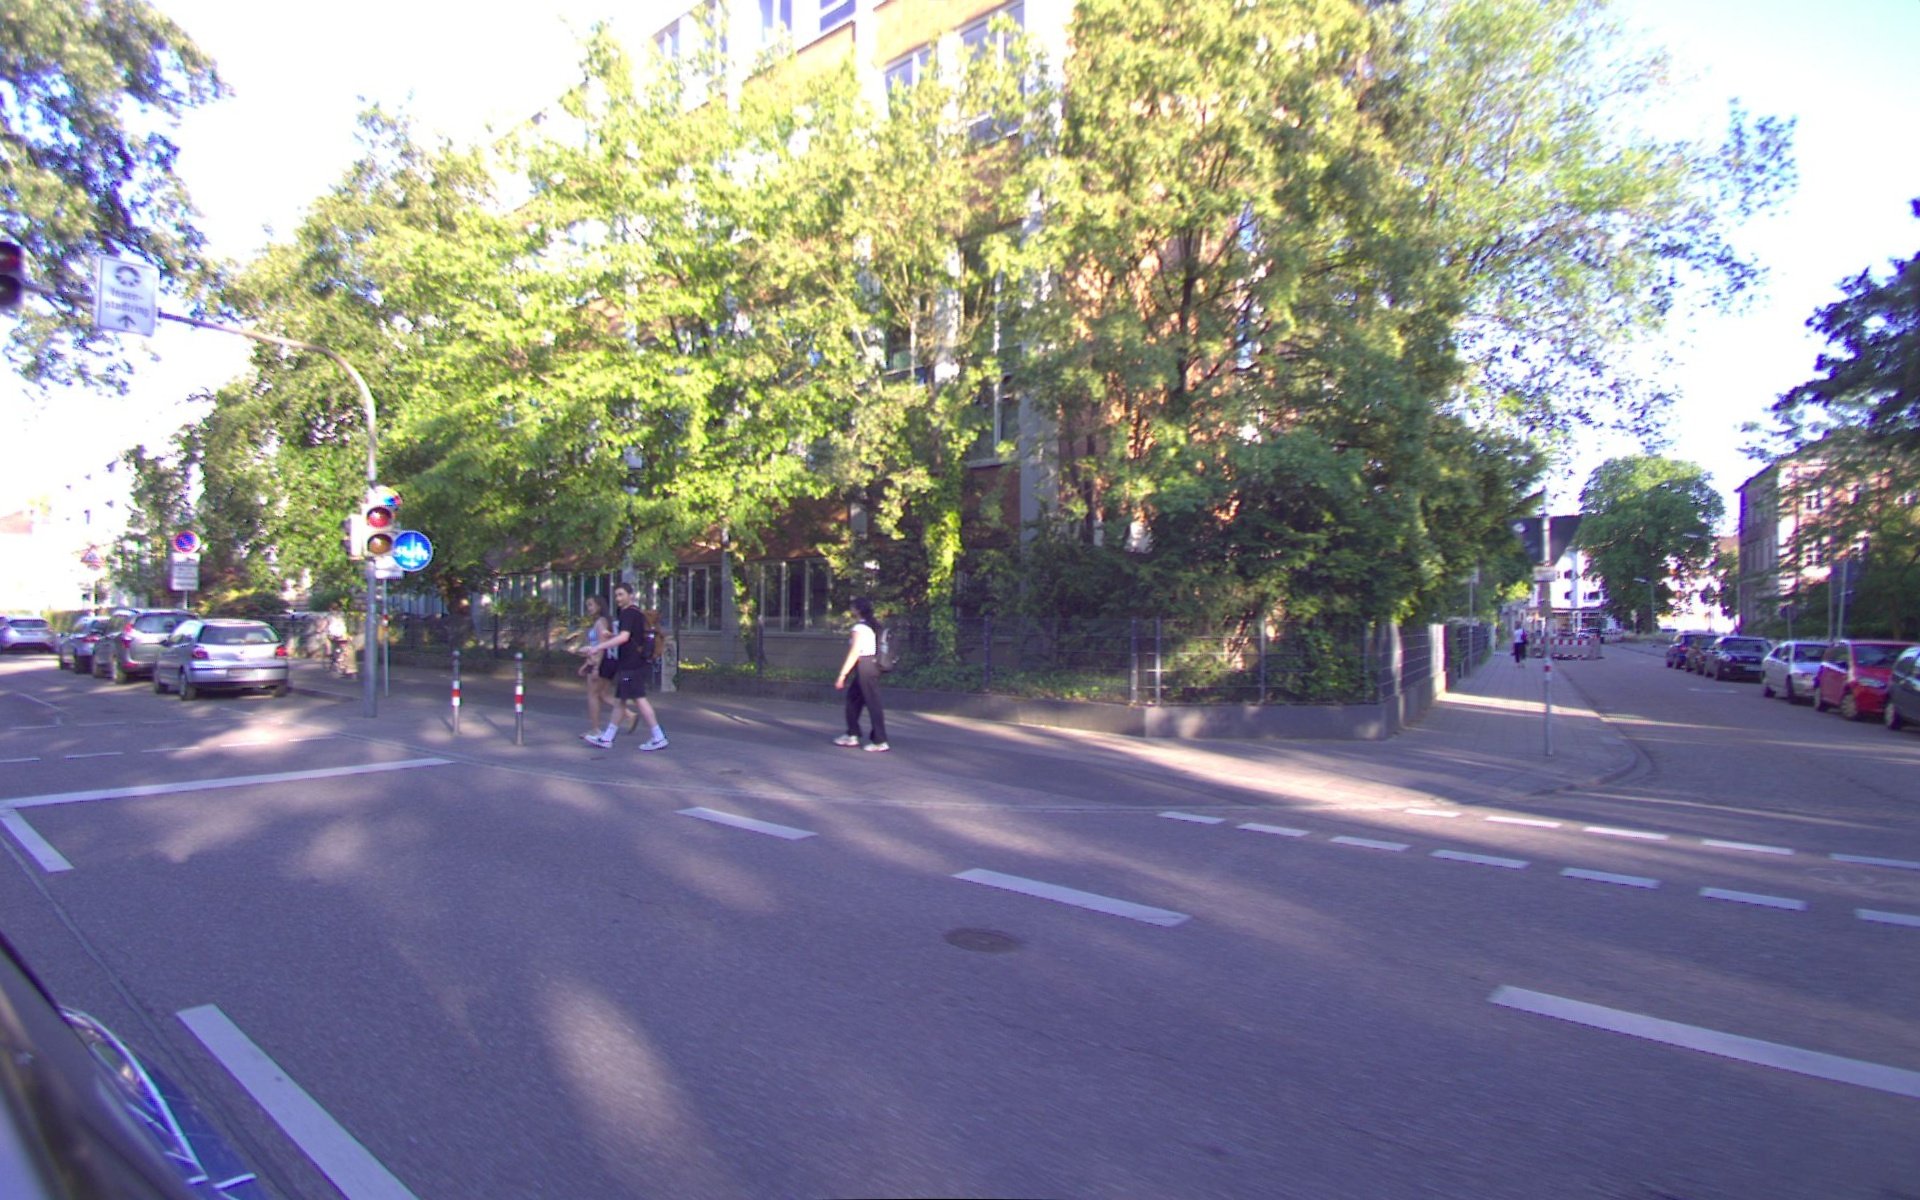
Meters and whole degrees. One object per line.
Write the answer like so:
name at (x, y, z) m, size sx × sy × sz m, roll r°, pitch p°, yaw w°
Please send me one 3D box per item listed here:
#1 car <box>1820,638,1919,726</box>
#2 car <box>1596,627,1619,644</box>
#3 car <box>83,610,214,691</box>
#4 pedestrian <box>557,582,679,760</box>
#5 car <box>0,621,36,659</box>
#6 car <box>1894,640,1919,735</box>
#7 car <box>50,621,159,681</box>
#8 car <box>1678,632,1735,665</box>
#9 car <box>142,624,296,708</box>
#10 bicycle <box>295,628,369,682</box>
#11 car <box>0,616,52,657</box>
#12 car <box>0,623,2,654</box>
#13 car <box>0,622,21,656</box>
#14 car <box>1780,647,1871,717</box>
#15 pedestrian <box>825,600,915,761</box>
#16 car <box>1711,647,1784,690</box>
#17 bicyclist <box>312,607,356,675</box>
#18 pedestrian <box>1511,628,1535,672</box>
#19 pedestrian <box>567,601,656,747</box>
car at (17.221, 1.473, 18.809) m, size 1.370 × 1.468 × 3.240 m, roll 1°, pitch -1°, yaw 32°
car at (67.907, 3.761, 106.165) m, size 1.993 × 1.741 × 3.957 m, roll -1°, pitch -2°, yaw 31°
car at (-19.150, 1.162, 23.818) m, size 4.338 × 1.721 × 1.661 m, roll -2°, pitch -3°, yaw 42°
pedestrian at (-3.705, 0.748, 11.020) m, size 0.949 × 1.838 × 0.818 m, roll 0°, pitch -2°, yaw 18°
car at (-40.168, 1.676, 42.552) m, size 3.787 × 1.519 × 1.581 m, roll -2°, pitch -3°, yaw 43°
car at (15.473, 1.370, 15.060) m, size 1.679 × 1.468 × 3.240 m, roll 1°, pitch -1°, yaw 31°
car at (-23.123, 1.350, 27.296) m, size 4.060 × 1.505 × 1.653 m, roll -2°, pitch -3°, yaw 42°
car at (28.533, 1.839, 38.753) m, size 1.495 × 1.231 × 2.871 m, roll -1°, pitch -2°, yaw 32°
car at (-14.426, 1.219, 19.639) m, size 3.881 × 1.468 × 1.661 m, roll -2°, pitch -3°, yaw 43°
bicycle at (-15.312, 1.315, 24.657) m, size 2.186 × 1.258 × 0.681 m, roll -1°, pitch -1°, yaw 33°
car at (-36.745, 1.424, 39.375) m, size 3.769 × 1.505 × 1.584 m, roll -2°, pitch -3°, yaw 41°
car at (-48.164, 1.867, 49.421) m, size 3.859 × 1.466 × 1.582 m, roll -1°, pitch -2°, yaw 40°
car at (-43.685, 1.732, 45.533) m, size 4.051 × 1.466 × 1.582 m, roll -1°, pitch -3°, yaw 40°
car at (19.057, 1.755, 22.364) m, size 1.095 × 1.379 × 2.699 m, roll 1°, pitch -1°, yaw 32°
pedestrian at (-0.964, 0.848, 10.998) m, size 0.760 × 1.675 × 0.711 m, roll 0°, pitch -2°, yaw 18°
car at (24.781, 2.119, 31.919) m, size 1.495 × 1.231 × 2.871 m, roll -1°, pitch -2°, yaw 32°
bicyclist at (-15.203, 0.991, 24.589) m, size 0.704 × 1.615 × 0.670 m, roll -1°, pitch -1°, yaw 32°
pedestrian at (21.211, 1.885, 38.130) m, size 0.734 × 1.623 × 0.703 m, roll -1°, pitch -2°, yaw 32°
pedestrian at (-4.141, 0.859, 12.064) m, size 0.701 × 1.675 × 0.711 m, roll 0°, pitch -2°, yaw 18°
